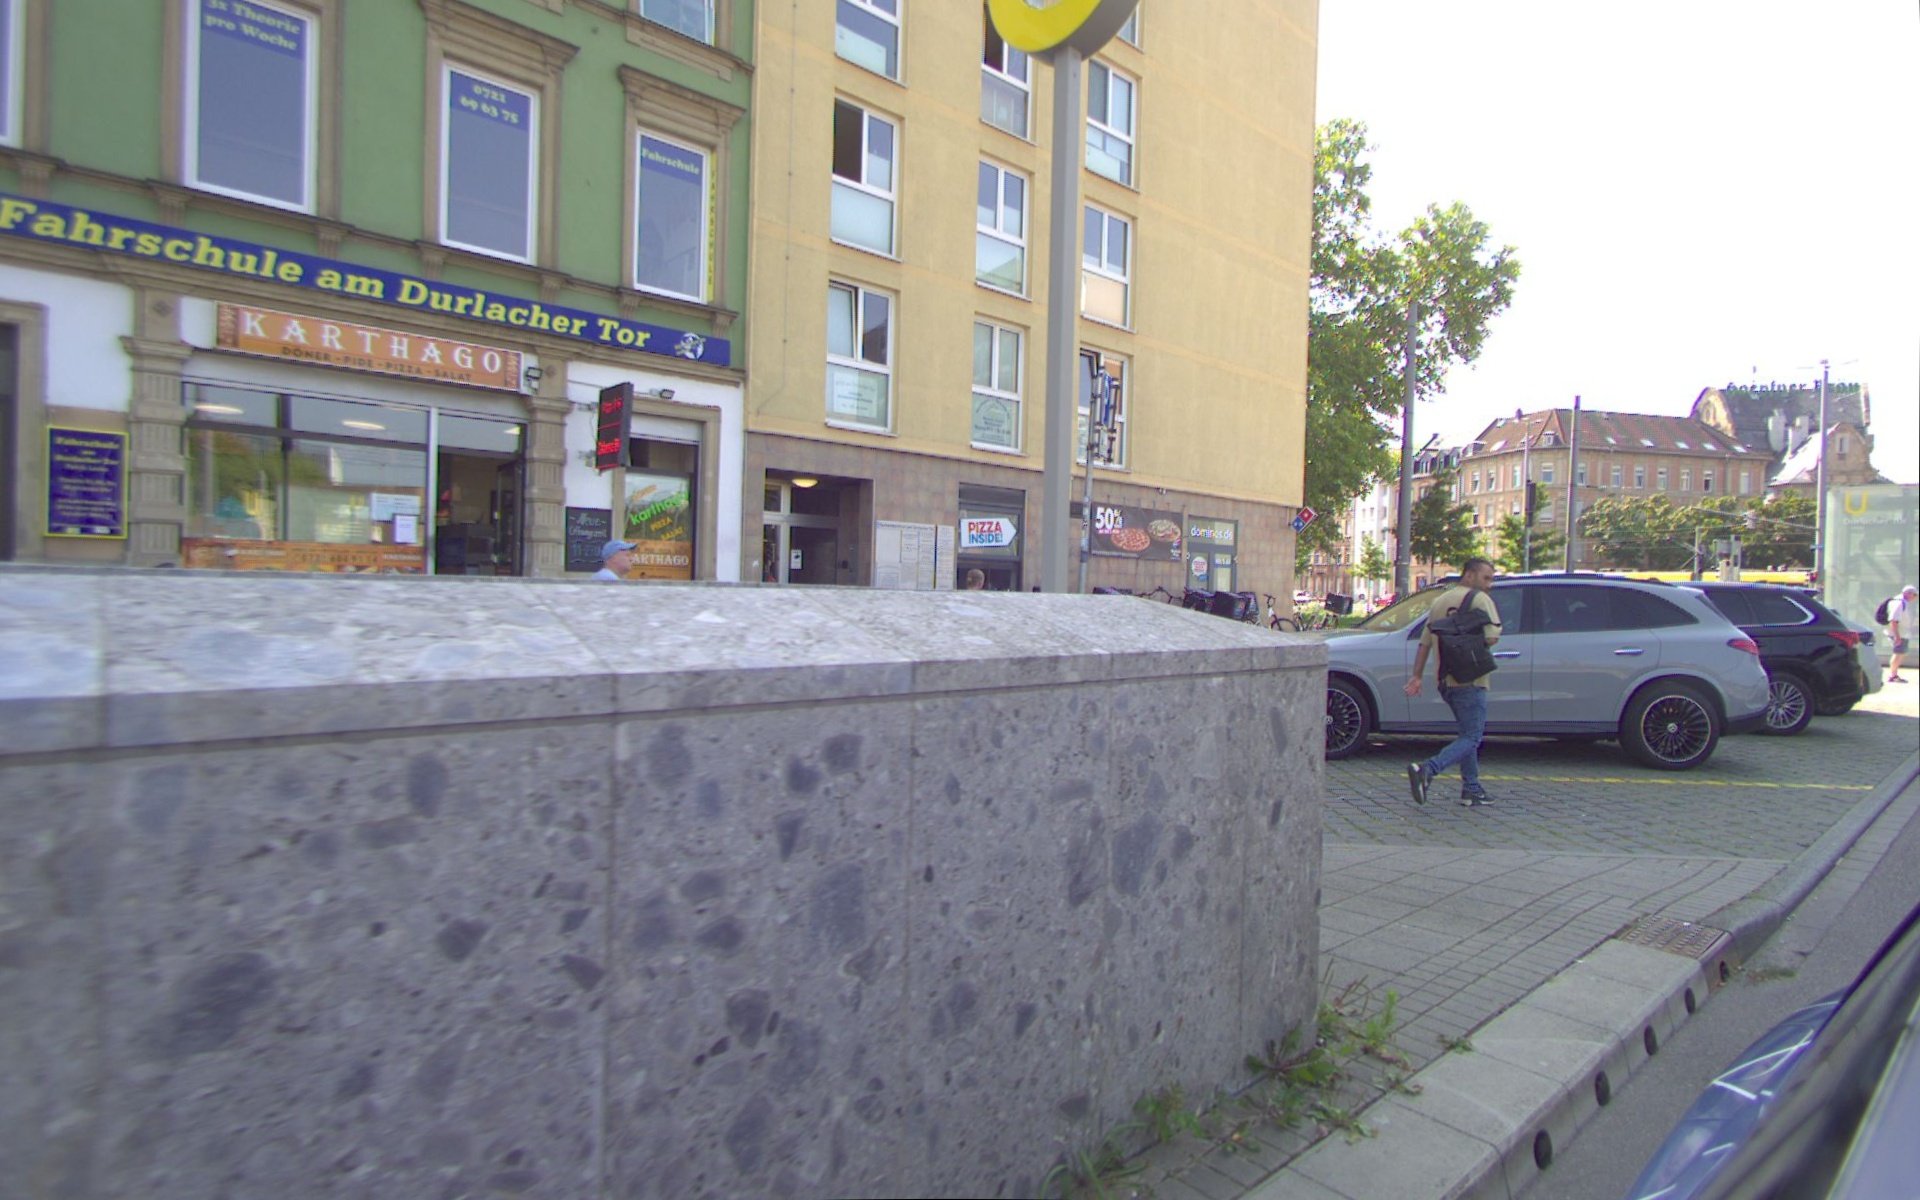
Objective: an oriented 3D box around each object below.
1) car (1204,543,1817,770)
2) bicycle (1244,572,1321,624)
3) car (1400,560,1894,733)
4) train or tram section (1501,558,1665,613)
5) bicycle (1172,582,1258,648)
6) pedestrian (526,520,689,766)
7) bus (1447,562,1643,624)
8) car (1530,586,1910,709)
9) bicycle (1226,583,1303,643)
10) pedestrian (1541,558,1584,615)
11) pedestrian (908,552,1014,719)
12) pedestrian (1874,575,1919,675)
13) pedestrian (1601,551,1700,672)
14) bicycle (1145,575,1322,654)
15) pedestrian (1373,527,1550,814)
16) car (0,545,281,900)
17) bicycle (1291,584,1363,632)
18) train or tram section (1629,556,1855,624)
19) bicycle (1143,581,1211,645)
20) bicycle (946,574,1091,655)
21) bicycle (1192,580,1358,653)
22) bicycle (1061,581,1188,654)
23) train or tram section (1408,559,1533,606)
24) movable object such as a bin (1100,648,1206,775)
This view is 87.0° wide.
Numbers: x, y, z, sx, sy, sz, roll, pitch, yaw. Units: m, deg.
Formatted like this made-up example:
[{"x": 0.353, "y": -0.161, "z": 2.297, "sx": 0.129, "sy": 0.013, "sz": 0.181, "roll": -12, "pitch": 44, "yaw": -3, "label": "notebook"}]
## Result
[{"x": 4.820, "y": 0.422, "z": 9.597, "sx": 4.586, "sy": 1.735, "sz": 2.040, "roll": 2, "pitch": 1, "yaw": 7, "label": "car"}, {"x": 8.057, "y": -0.054, "z": 25.294, "sx": 1.721, "sy": 1.221, "sz": 0.580, "roll": 3, "pitch": 1, "yaw": 42, "label": "bicycle"}, {"x": 7.810, "y": 0.460, "z": 11.972, "sx": 4.318, "sy": 1.708, "sz": 1.983, "roll": 2, "pitch": 1, "yaw": 7, "label": "car"}, {"x": 44.590, "y": -1.154, "z": 73.177, "sx": 2.542, "sy": 3.604, "sz": 12.240, "roll": 2, "pitch": 2, "yaw": -9, "label": "train or tram section"}, {"x": 5.101, "y": 0.289, "z": 20.251, "sx": 1.513, "sy": 1.254, "sz": 0.593, "roll": 2, "pitch": 1, "yaw": -9, "label": "bicycle"}, {"x": -2.634, "y": 0.289, "z": 7.565, "sx": 0.926, "sy": 1.706, "sz": 0.672, "roll": 1, "pitch": 2, "yaw": -42, "label": "pedestrian"}, {"x": 32.758, "y": -0.512, "z": 57.658, "sx": 2.678, "sy": 3.102, "sz": 12.102, "roll": 2, "pitch": 1, "yaw": -8, "label": "bus"}, {"x": 10.201, "y": 0.600, "z": 13.884, "sx": 3.722, "sy": 1.519, "sz": 1.803, "roll": 0, "pitch": -1, "yaw": 8, "label": "car"}, {"x": 6.744, "y": 0.282, "z": 22.357, "sx": 1.927, "sy": 1.262, "sz": 0.729, "roll": 1, "pitch": 1, "yaw": -43, "label": "bicycle"}, {"x": 17.576, "y": -0.402, "z": 29.521, "sx": 0.934, "sy": 1.628, "sz": 0.791, "roll": 0, "pitch": 3, "yaw": -44, "label": "pedestrian"}, {"x": 0.031, "y": 0.323, "z": 10.377, "sx": 0.840, "sy": 1.601, "sz": 0.966, "roll": 2, "pitch": 1, "yaw": 15, "label": "pedestrian"}, {"x": 17.813, "y": 0.456, "z": 19.030, "sx": 0.800, "sy": 1.831, "sz": 0.820, "roll": 1, "pitch": 0, "yaw": -41, "label": "pedestrian"}, {"x": 10.252, "y": 0.155, "z": 15.064, "sx": 1.026, "sy": 1.726, "sz": 0.897, "roll": 1, "pitch": 0, "yaw": 23, "label": "pedestrian"}, {"x": 5.446, "y": 0.259, "z": 20.357, "sx": 3.313, "sy": 1.422, "sz": 0.901, "roll": 2, "pitch": 1, "yaw": 13, "label": "bicycle"}, {"x": 3.414, "y": 0.451, "z": 6.893, "sx": 0.865, "sy": 1.774, "sz": 0.859, "roll": -1, "pitch": -3, "yaw": 44, "label": "pedestrian"}, {"x": -5.086, "y": 0.455, "z": 4.206, "sx": 3.556, "sy": 1.458, "sz": 1.634, "roll": 2, "pitch": 1, "yaw": -42, "label": "car"}, {"x": 10.079, "y": 0.209, "z": 27.731, "sx": 2.393, "sy": 1.254, "sz": 0.793, "roll": 0, "pitch": 2, "yaw": -42, "label": "bicycle"}, {"x": 46.559, "y": -0.741, "z": 61.114, "sx": 2.542, "sy": 3.604, "sz": 12.240, "roll": 2, "pitch": 2, "yaw": -9, "label": "train or tram section"}, {"x": 4.450, "y": 0.259, "z": 20.666, "sx": 1.797, "sy": 1.254, "sz": 0.409, "roll": 1, "pitch": 1, "yaw": -44, "label": "bicycle"}, {"x": 1.011, "y": 0.229, "z": 17.023, "sx": 2.378, "sy": 1.254, "sz": 0.941, "roll": 1, "pitch": 1, "yaw": -39, "label": "bicycle"}, {"x": 6.771, "y": 0.326, "z": 21.977, "sx": 3.313, "sy": 1.422, "sz": 0.901, "roll": 2, "pitch": 1, "yaw": 13, "label": "bicycle"}, {"x": 3.081, "y": 0.315, "z": 18.791, "sx": 2.378, "sy": 1.254, "sz": 0.941, "roll": 1, "pitch": 1, "yaw": -39, "label": "bicycle"}, {"x": 42.610, "y": -1.545, "z": 85.240, "sx": 2.542, "sy": 3.604, "sz": 12.240, "roll": 2, "pitch": 2, "yaw": -9, "label": "train or tram section"}, {"x": 1.557, "y": 0.869, "z": 8.145, "sx": 0.688, "sy": 0.928, "sz": 0.537, "roll": 1, "pitch": -2, "yaw": -44, "label": "movable object such as a bin"}]
